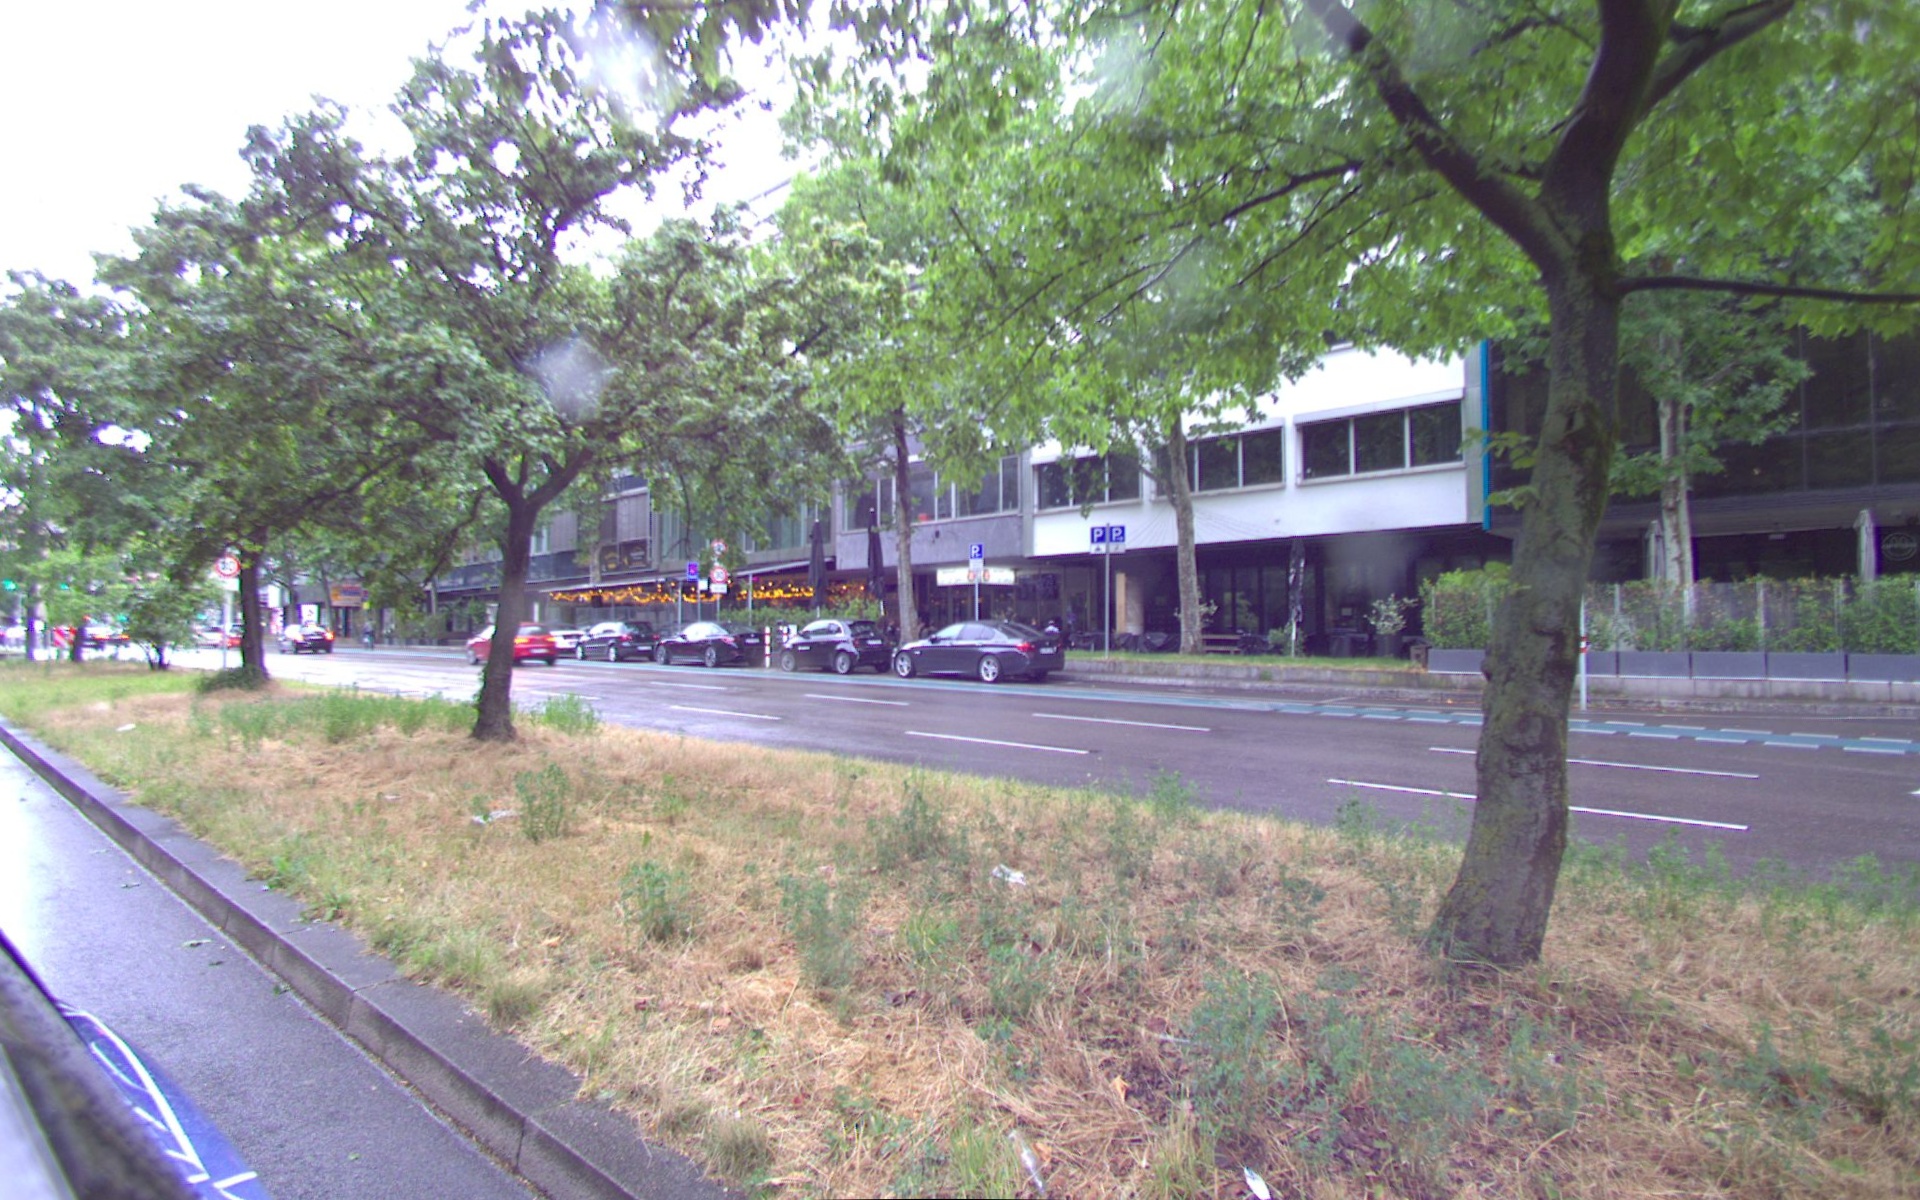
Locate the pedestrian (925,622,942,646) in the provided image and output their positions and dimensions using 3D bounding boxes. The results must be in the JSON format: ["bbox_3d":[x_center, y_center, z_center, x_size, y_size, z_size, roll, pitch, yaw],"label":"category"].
[{"bbox_3d":[-0.954,1.221,36.445,0.433,0.856,0.435,-1,0,39],"label":"pedestrian"}]

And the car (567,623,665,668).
[{"bbox_3d":[-12.446,1.587,36.528,3.788,1.464,1.727,-1,0,42],"label":"car"}]

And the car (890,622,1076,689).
[{"bbox_3d":[0.468,1.279,24.730,1.849,1.396,4.539,-1,0,-45],"label":"car"}]

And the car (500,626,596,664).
[{"bbox_3d":[-16.480,1.773,40.391,4.392,1.336,1.856,-1,0,43],"label":"car"}]

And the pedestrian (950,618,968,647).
[{"bbox_3d":[-0.037,1.130,35.417,0.423,1.024,0.459,-1,0,39],"label":"pedestrian"}]

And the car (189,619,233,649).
[{"bbox_3d":[-50.340,2.235,67.994,3.860,1.897,1.729,-1,0,44],"label":"car"}]

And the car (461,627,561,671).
[{"bbox_3d":[-15.222,1.611,34.265,3.737,1.335,1.742,-1,0,42],"label":"car"}]

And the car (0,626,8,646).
[{"bbox_3d":[-82.715,3.104,86.341,3.524,1.643,1.657,-1,0,39],"label":"car"}]

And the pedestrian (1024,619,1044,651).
[{"bbox_3d":[2.427,1.136,33.134,0.488,1.008,0.481,-1,0,26],"label":"pedestrian"}]

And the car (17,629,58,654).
[{"bbox_3d":[-64.038,2.853,70.221,3.820,1.588,1.856,-1,0,44],"label":"car"}]

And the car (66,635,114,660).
[{"bbox_3d":[-54.087,2.910,62.874,3.524,1.400,1.657,-1,0,39],"label":"car"}]

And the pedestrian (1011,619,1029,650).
[{"bbox_3d":[1.984,1.134,33.484,0.461,1.000,0.455,-1,0,26],"label":"pedestrian"}]

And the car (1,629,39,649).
[{"bbox_3d":[-72.214,2.997,77.750,3.524,1.400,1.657,-1,0,39],"label":"car"}]

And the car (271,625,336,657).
[{"bbox_3d":[-32.510,1.999,50.099,4.106,1.427,1.843,-1,0,44],"label":"car"}]

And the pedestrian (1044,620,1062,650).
[{"bbox_3d":[3.030,1.128,32.906,0.451,0.970,0.454,-1,0,26],"label":"pedestrian"}]

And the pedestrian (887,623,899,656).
[{"bbox_3d":[-2.459,1.446,37.285,0.439,1.195,0.467,-1,0,-3],"label":"pedestrian"}]

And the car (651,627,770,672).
[{"bbox_3d":[-8.062,1.536,32.465,4.319,1.249,1.625,-1,0,44],"label":"car"}]

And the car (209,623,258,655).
[{"bbox_3d":[-43.412,2.294,60.407,3.860,1.738,1.729,-1,0,44],"label":"car"}]

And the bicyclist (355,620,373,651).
[{"bbox_3d":[-31.342,1.851,53.223,0.704,1.582,0.610,-1,0,-40],"label":"bicyclist"}]

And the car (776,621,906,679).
[{"bbox_3d":[-3.359,1.352,28.271,3.400,1.433,1.851,-1,0,42],"label":"car"}]

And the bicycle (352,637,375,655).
[{"bbox_3d":[-31.456,2.434,53.360,0.704,0.849,2.235,-1,0,-40],"label":"bicycle"}]

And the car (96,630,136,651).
[{"bbox_3d":[-62.560,2.970,75.012,3.524,1.400,1.657,-1,0,39],"label":"car"}]
